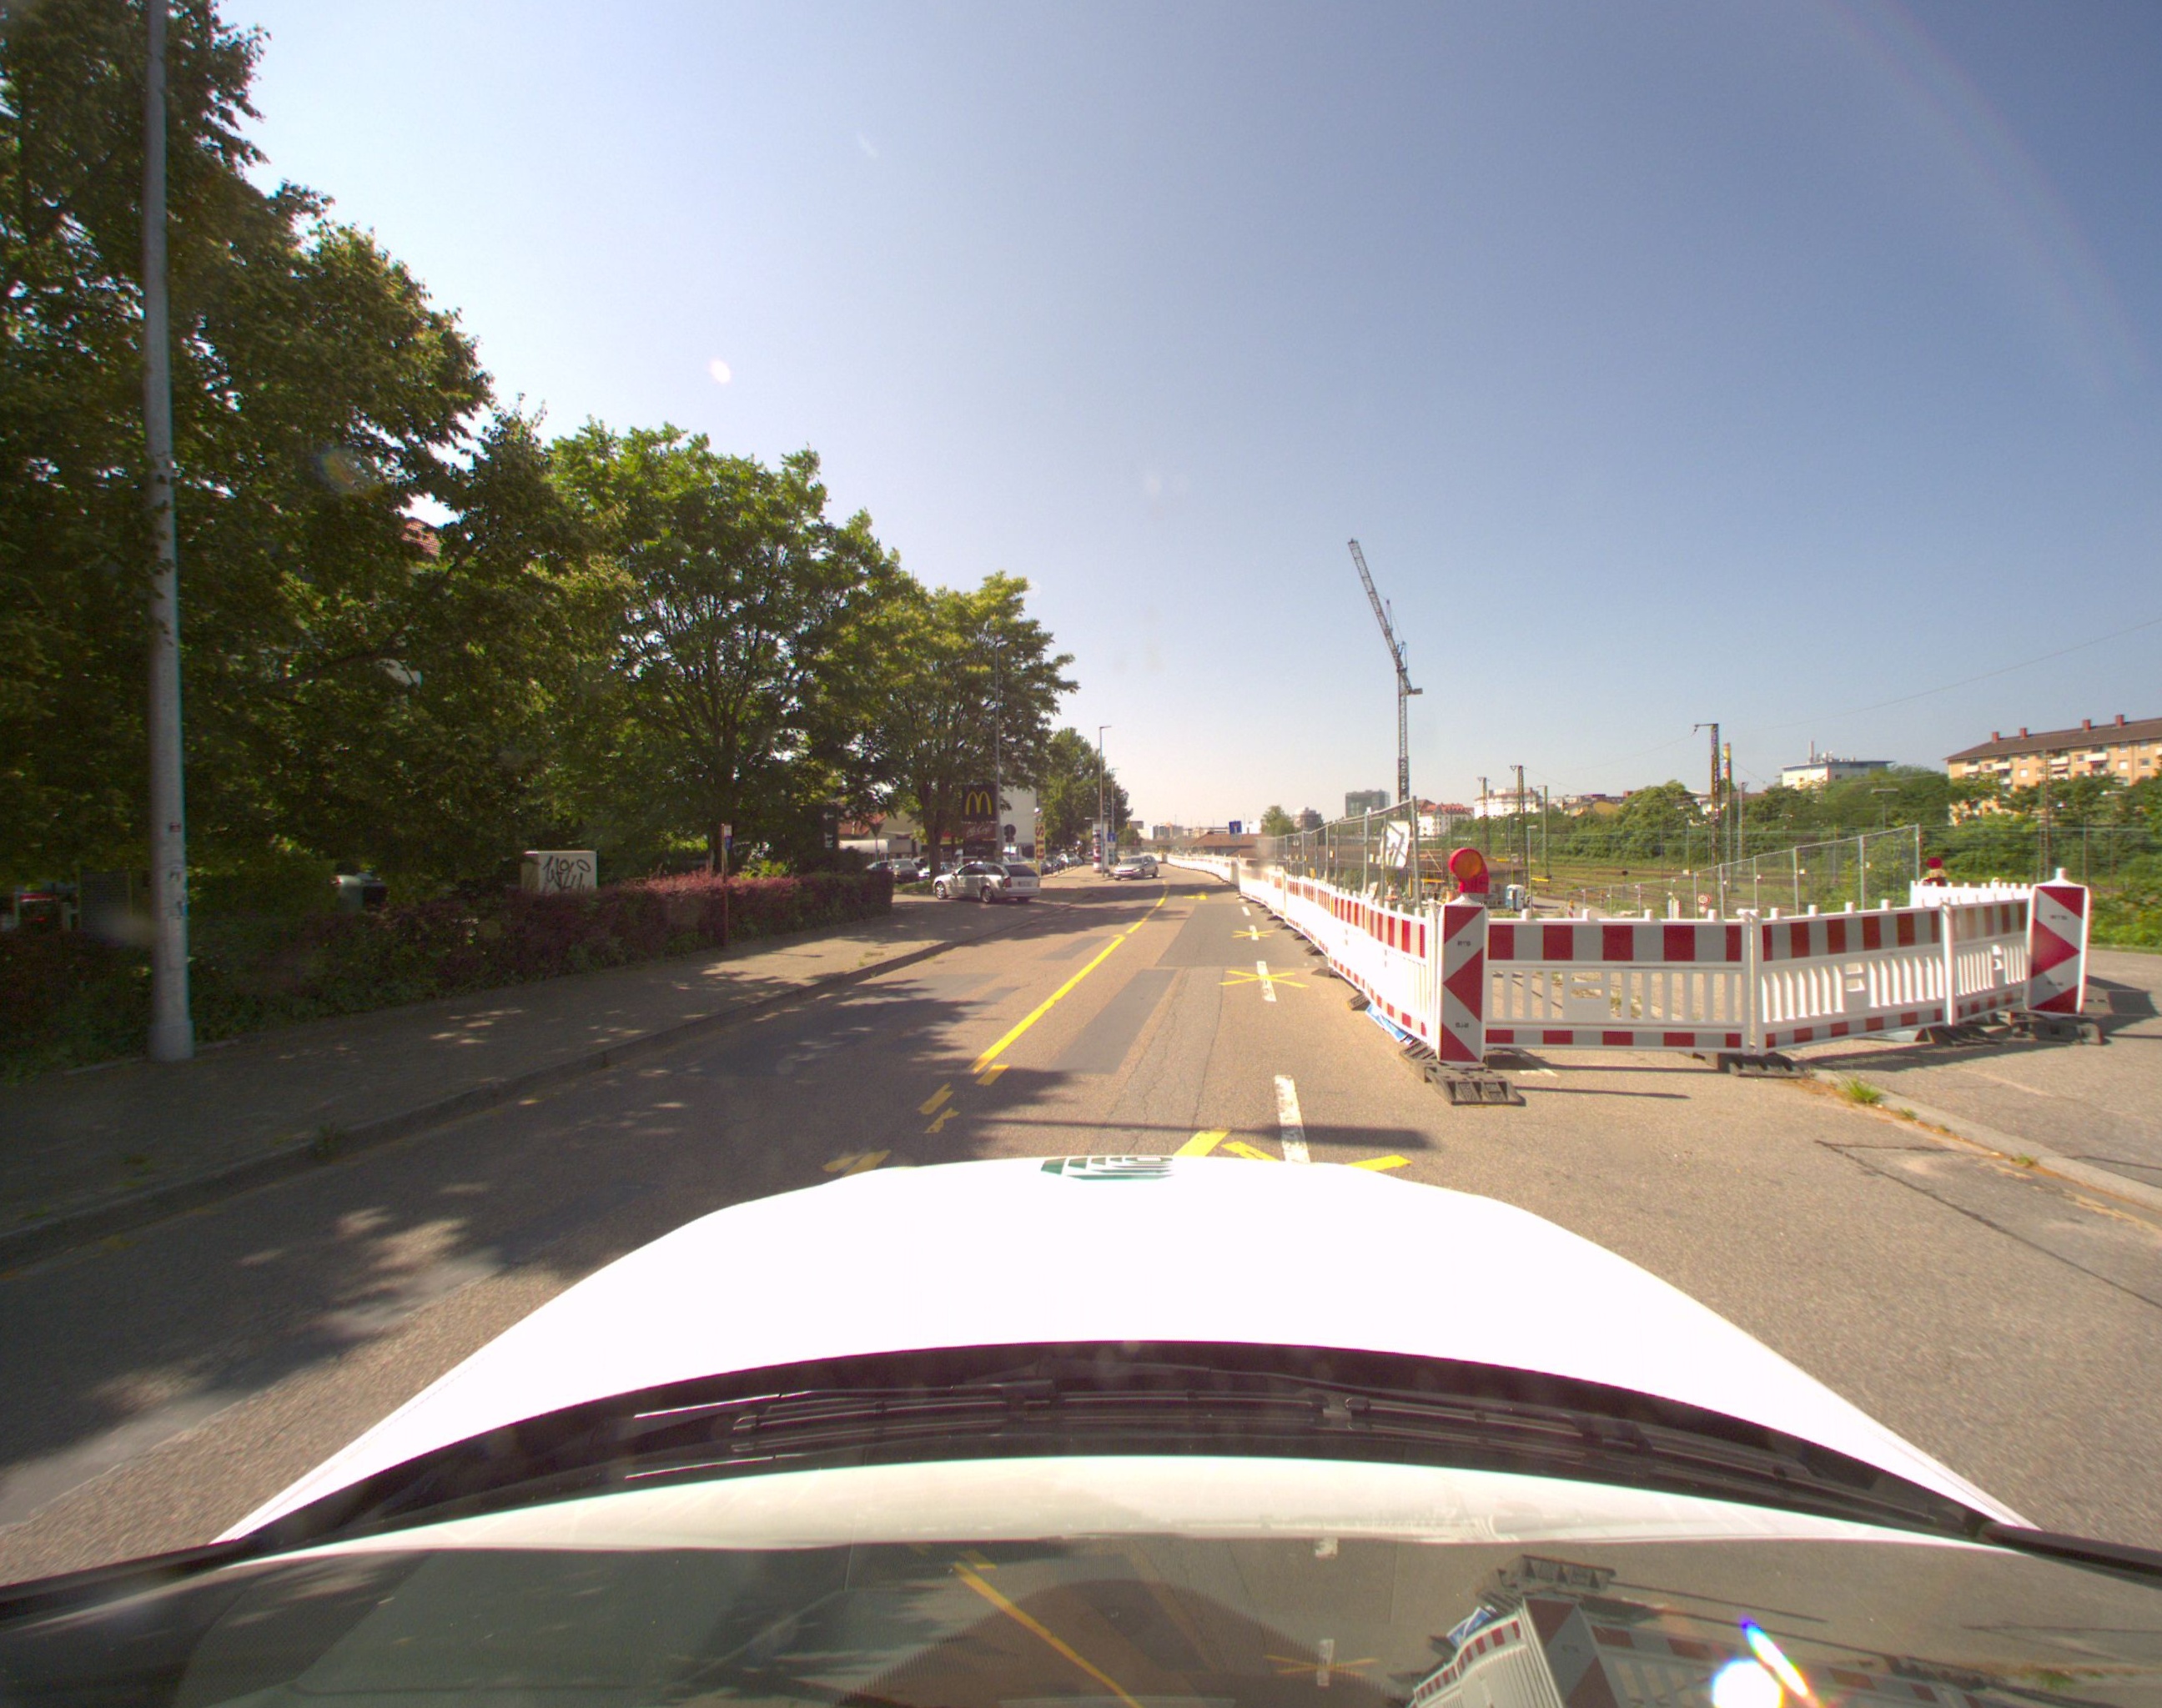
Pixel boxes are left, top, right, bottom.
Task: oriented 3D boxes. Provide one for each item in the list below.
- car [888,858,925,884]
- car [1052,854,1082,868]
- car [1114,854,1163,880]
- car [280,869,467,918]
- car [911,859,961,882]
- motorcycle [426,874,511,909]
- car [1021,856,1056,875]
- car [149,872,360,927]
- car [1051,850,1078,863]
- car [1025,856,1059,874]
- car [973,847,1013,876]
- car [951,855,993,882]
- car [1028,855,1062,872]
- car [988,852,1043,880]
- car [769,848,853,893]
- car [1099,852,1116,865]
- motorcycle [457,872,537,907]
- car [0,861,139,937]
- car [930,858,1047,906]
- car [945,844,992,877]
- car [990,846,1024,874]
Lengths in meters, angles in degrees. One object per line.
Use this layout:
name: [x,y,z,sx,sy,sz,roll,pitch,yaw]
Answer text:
car: [-12.482,1.195,58.124,1.812,1.656,4.282,-3,0,-22]
car: [-1.582,0.803,90.957,1.785,1.473,3.966,-4,0,-25]
car: [3.722,0.788,51.973,1.662,1.493,4.631,-2,0,23]
car: [-21.538,1.179,24.910,4.072,1.387,1.768,0,0,-3]
car: [-11.343,1.261,63.984,1.894,1.575,4.707,-2,0,16]
motorcycle: [-20.555,1.252,27.369,2.182,1.116,0.566,0,0,-18]
car: [-3.634,0.978,68.755,1.843,1.473,3.973,-4,0,-20]
car: [-22.716,1.234,22.501,4.048,1.395,1.626,0,0,-3]
car: [-2.455,0.365,118.727,3.916,1.959,1.756,0,0,-5]
car: [-3.607,0.992,74.297,1.788,1.473,3.969,-4,0,-23]
car: [-7.484,0.661,69.812,2.234,2.350,4.833,-2,-1,7]
car: [-7.707,1.013,57.075,2.049,1.707,4.286,-2,-2,-20]
car: [-3.465,0.967,78.318,1.677,1.473,3.964,-4,0,-28]
car: [-4.718,0.878,58.279,1.989,1.707,4.616,-3,-2,-32]
car: [-13.726,0.839,41.281,4.466,1.920,1.905,-5,0,41]
car: [3.437,0.580,106.548,1.860,1.498,4.038,-2,1,6]
motorcycle: [-20.228,1.222,28.254,2.182,1.131,0.566,0,0,-18]
car: [-25.920,1.058,19.713,4.001,1.732,1.800,0,0,-3]
car: [-3.267,0.902,28.208,1.724,1.403,4.333,-2,2,-44]
car: [-9.940,0.567,72.572,2.262,2.758,6.170,-2,-1,10]
car: [-6.846,0.564,76.142,2.236,2.430,5.724,2,-1,4]
